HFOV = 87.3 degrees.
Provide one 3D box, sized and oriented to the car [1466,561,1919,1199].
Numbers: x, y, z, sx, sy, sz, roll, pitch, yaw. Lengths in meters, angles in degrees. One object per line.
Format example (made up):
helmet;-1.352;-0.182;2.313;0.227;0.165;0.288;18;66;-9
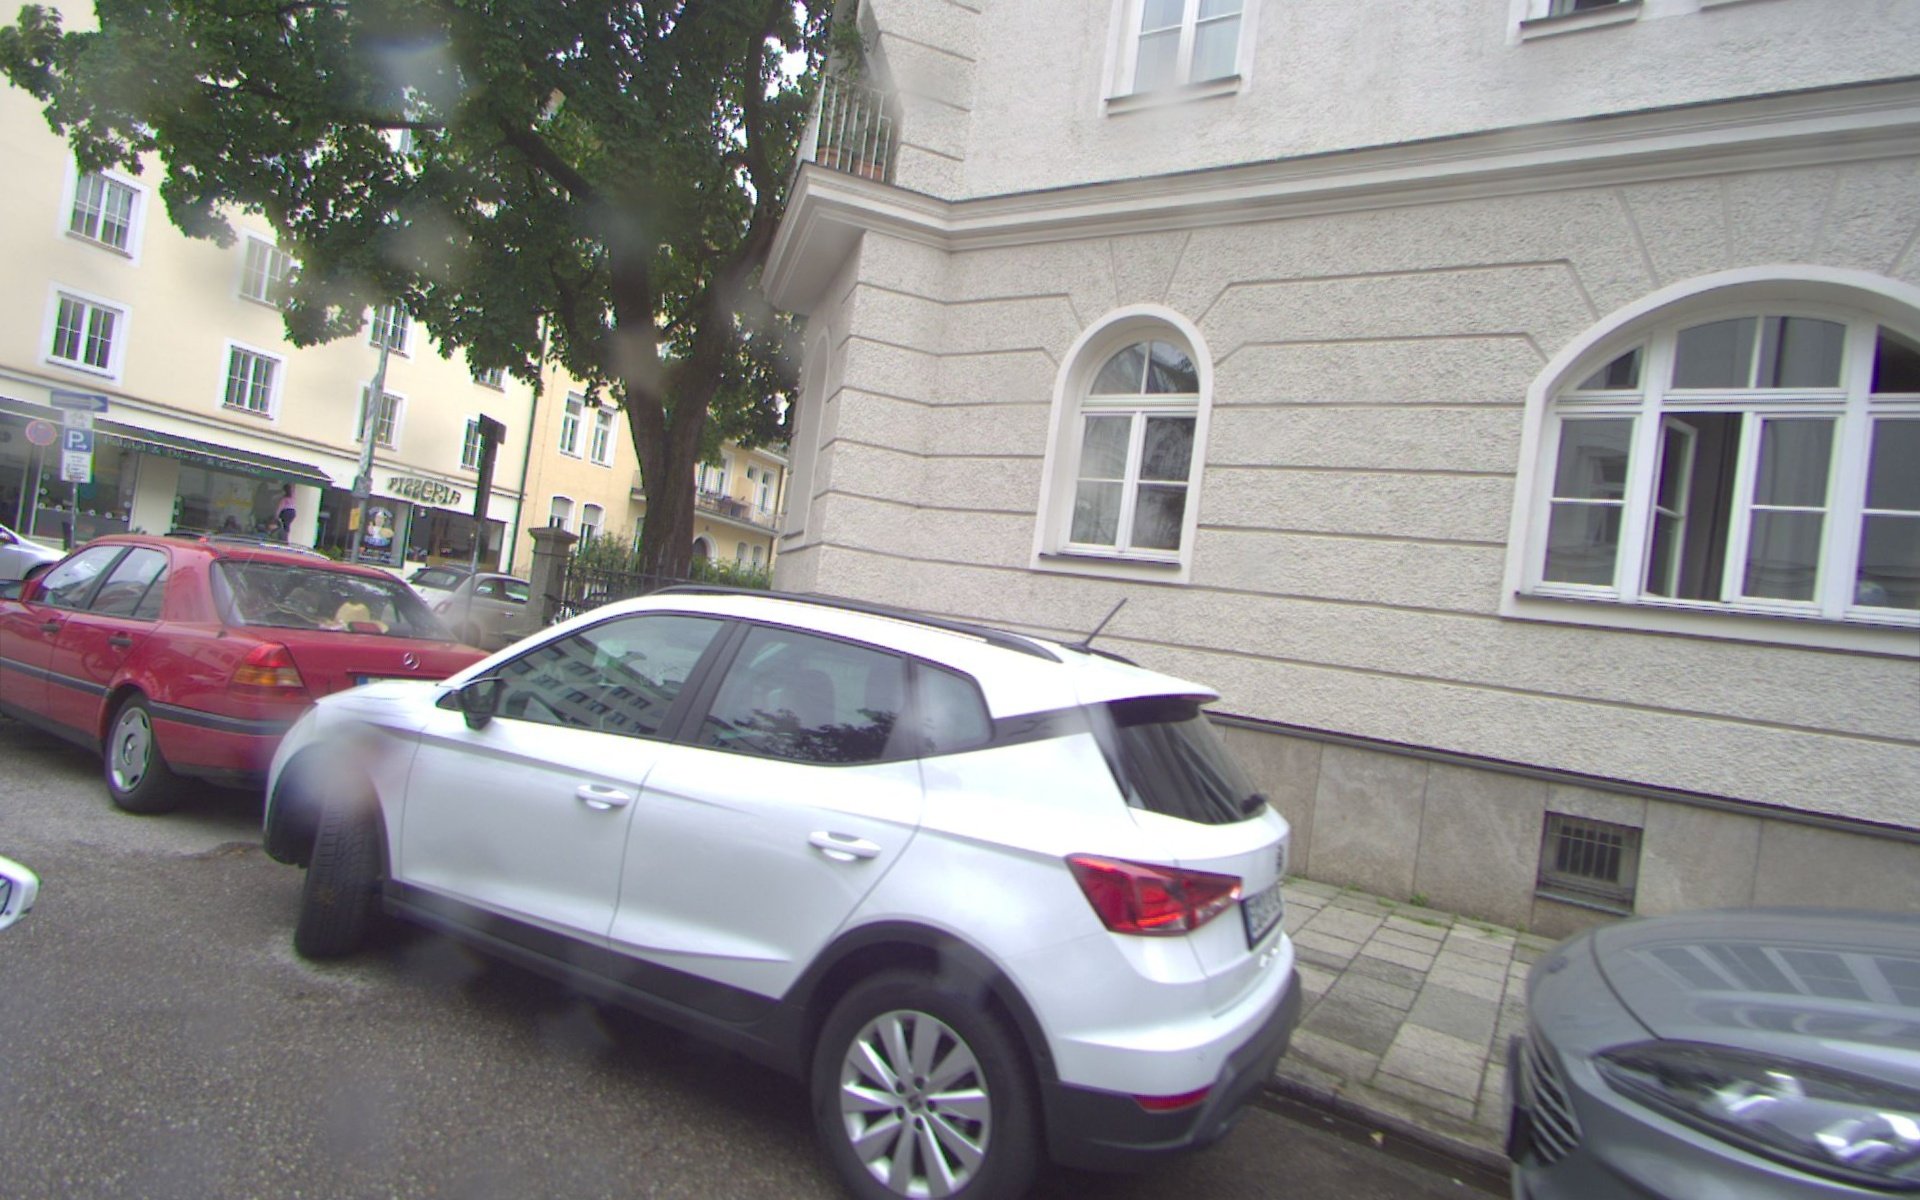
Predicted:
car;3.250;1.105;1.473;4.351;1.733;1.794;7;-1;30

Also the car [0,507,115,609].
car;-15.906;-0.829;15.482;1.791;1.431;3.995;4;-4;32

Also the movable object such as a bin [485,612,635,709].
movable object such as a bin;-4.420;0.672;11.147;1.198;0.875;0.902;7;-1;28

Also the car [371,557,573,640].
car;-11.842;0.026;24.795;1.787;1.519;4.354;5;-3;20

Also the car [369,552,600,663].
car;-8.279;0.201;17.816;1.598;1.504;3.333;9;-1;23

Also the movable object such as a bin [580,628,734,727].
movable object such as a bin;-3.219;0.825;10.719;1.198;0.854;0.902;7;-1;28

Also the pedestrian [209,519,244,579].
pedestrian;-19.003;-1.313;26.074;0.507;1.450;0.579;8;-1;-28

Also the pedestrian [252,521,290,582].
pedestrian;-18.656;-1.305;27.234;0.525;1.569;0.435;7;0;3

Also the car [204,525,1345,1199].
car;-0.754;0.754;3.812;3.841;1.513;1.756;7;-2;27

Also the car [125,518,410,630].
car;-13.635;-0.430;20.167;1.787;1.609;4.354;6;-3;20

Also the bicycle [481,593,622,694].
bicycle;-4.940;0.514;12.137;1.773;1.051;0.482;4;-2;29

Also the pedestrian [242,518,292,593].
pedestrian;-16.880;-1.075;24.519;0.533;1.722;0.604;9;0;22

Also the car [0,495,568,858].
car;-4.594;0.293;6.253;4.142;1.451;1.674;7;-2;30

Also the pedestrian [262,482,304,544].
pedestrian;-18.812;-2.421;27.958;0.567;1.592;0.554;7;-2;21

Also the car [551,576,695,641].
car;-9.738;0.295;29.421;1.778;1.465;4.003;4;-3;20

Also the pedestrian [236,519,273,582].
pedestrian;-18.541;-1.291;26.432;0.552;1.555;0.431;9;0;-28

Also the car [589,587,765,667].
car;-6.420;0.691;23.371;1.675;1.423;4.203;7;-2;20

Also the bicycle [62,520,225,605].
bicycle;-15.935;-0.694;19.706;1.086;1.267;2.091;8;-2;22
